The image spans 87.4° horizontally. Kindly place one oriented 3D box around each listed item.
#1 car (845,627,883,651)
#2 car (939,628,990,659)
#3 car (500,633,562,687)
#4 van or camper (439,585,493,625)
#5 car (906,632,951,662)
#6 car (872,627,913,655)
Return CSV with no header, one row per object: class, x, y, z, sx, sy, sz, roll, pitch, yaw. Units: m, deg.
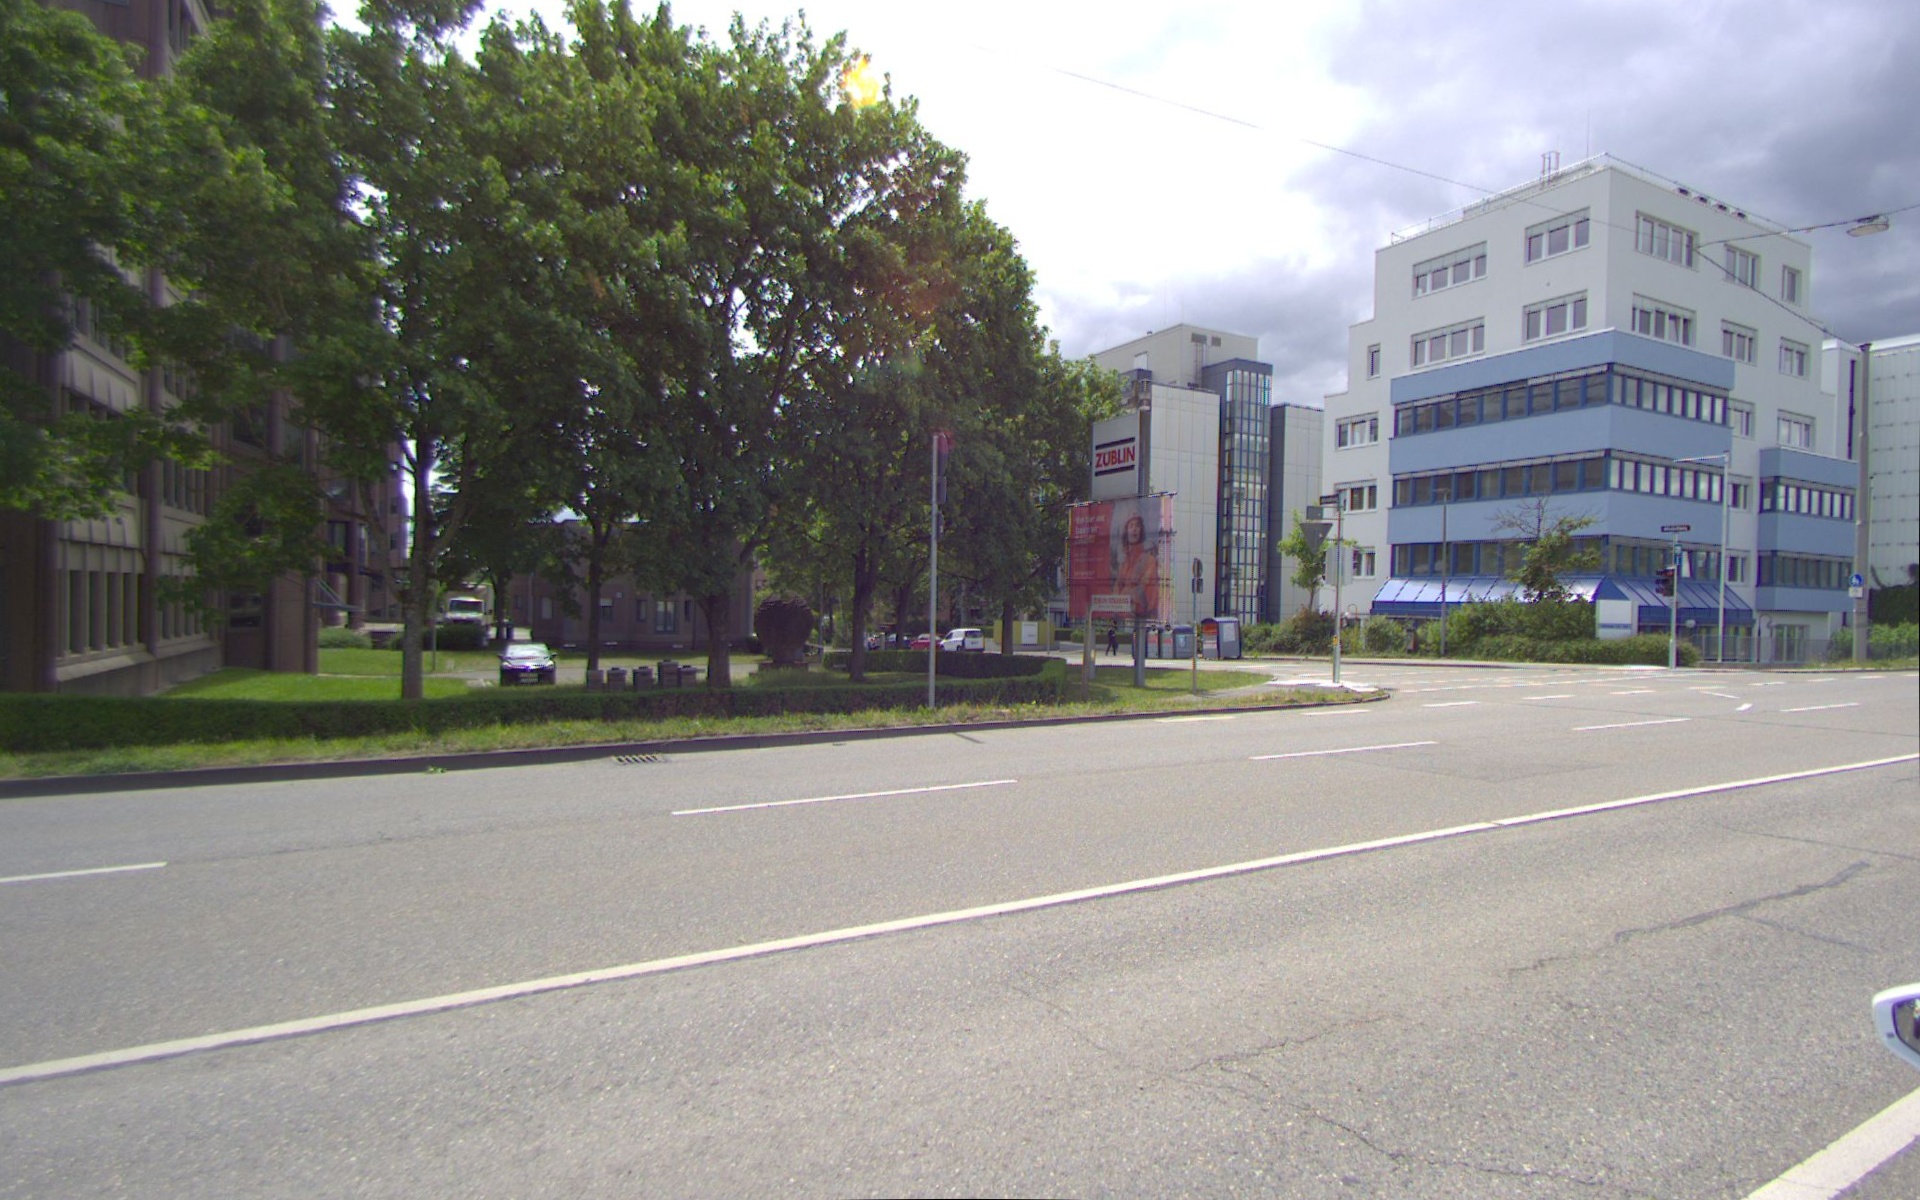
car,-8.192,3.283,85.376,1.875,1.919,3.973,2,-1,-27
car,0.294,3.016,70.308,1.974,2.006,3.974,2,-1,-26
car,-14.726,2.030,34.373,1.763,1.750,3.975,1,-3,-26
van or camper,-28.417,0.250,57.692,2.332,2.132,5.161,2,0,-31
car,-2.376,3.495,75.400,1.868,2.040,3.974,2,-1,-26
car,-5.371,3.229,79.926,1.848,2.040,3.973,2,-1,-27
